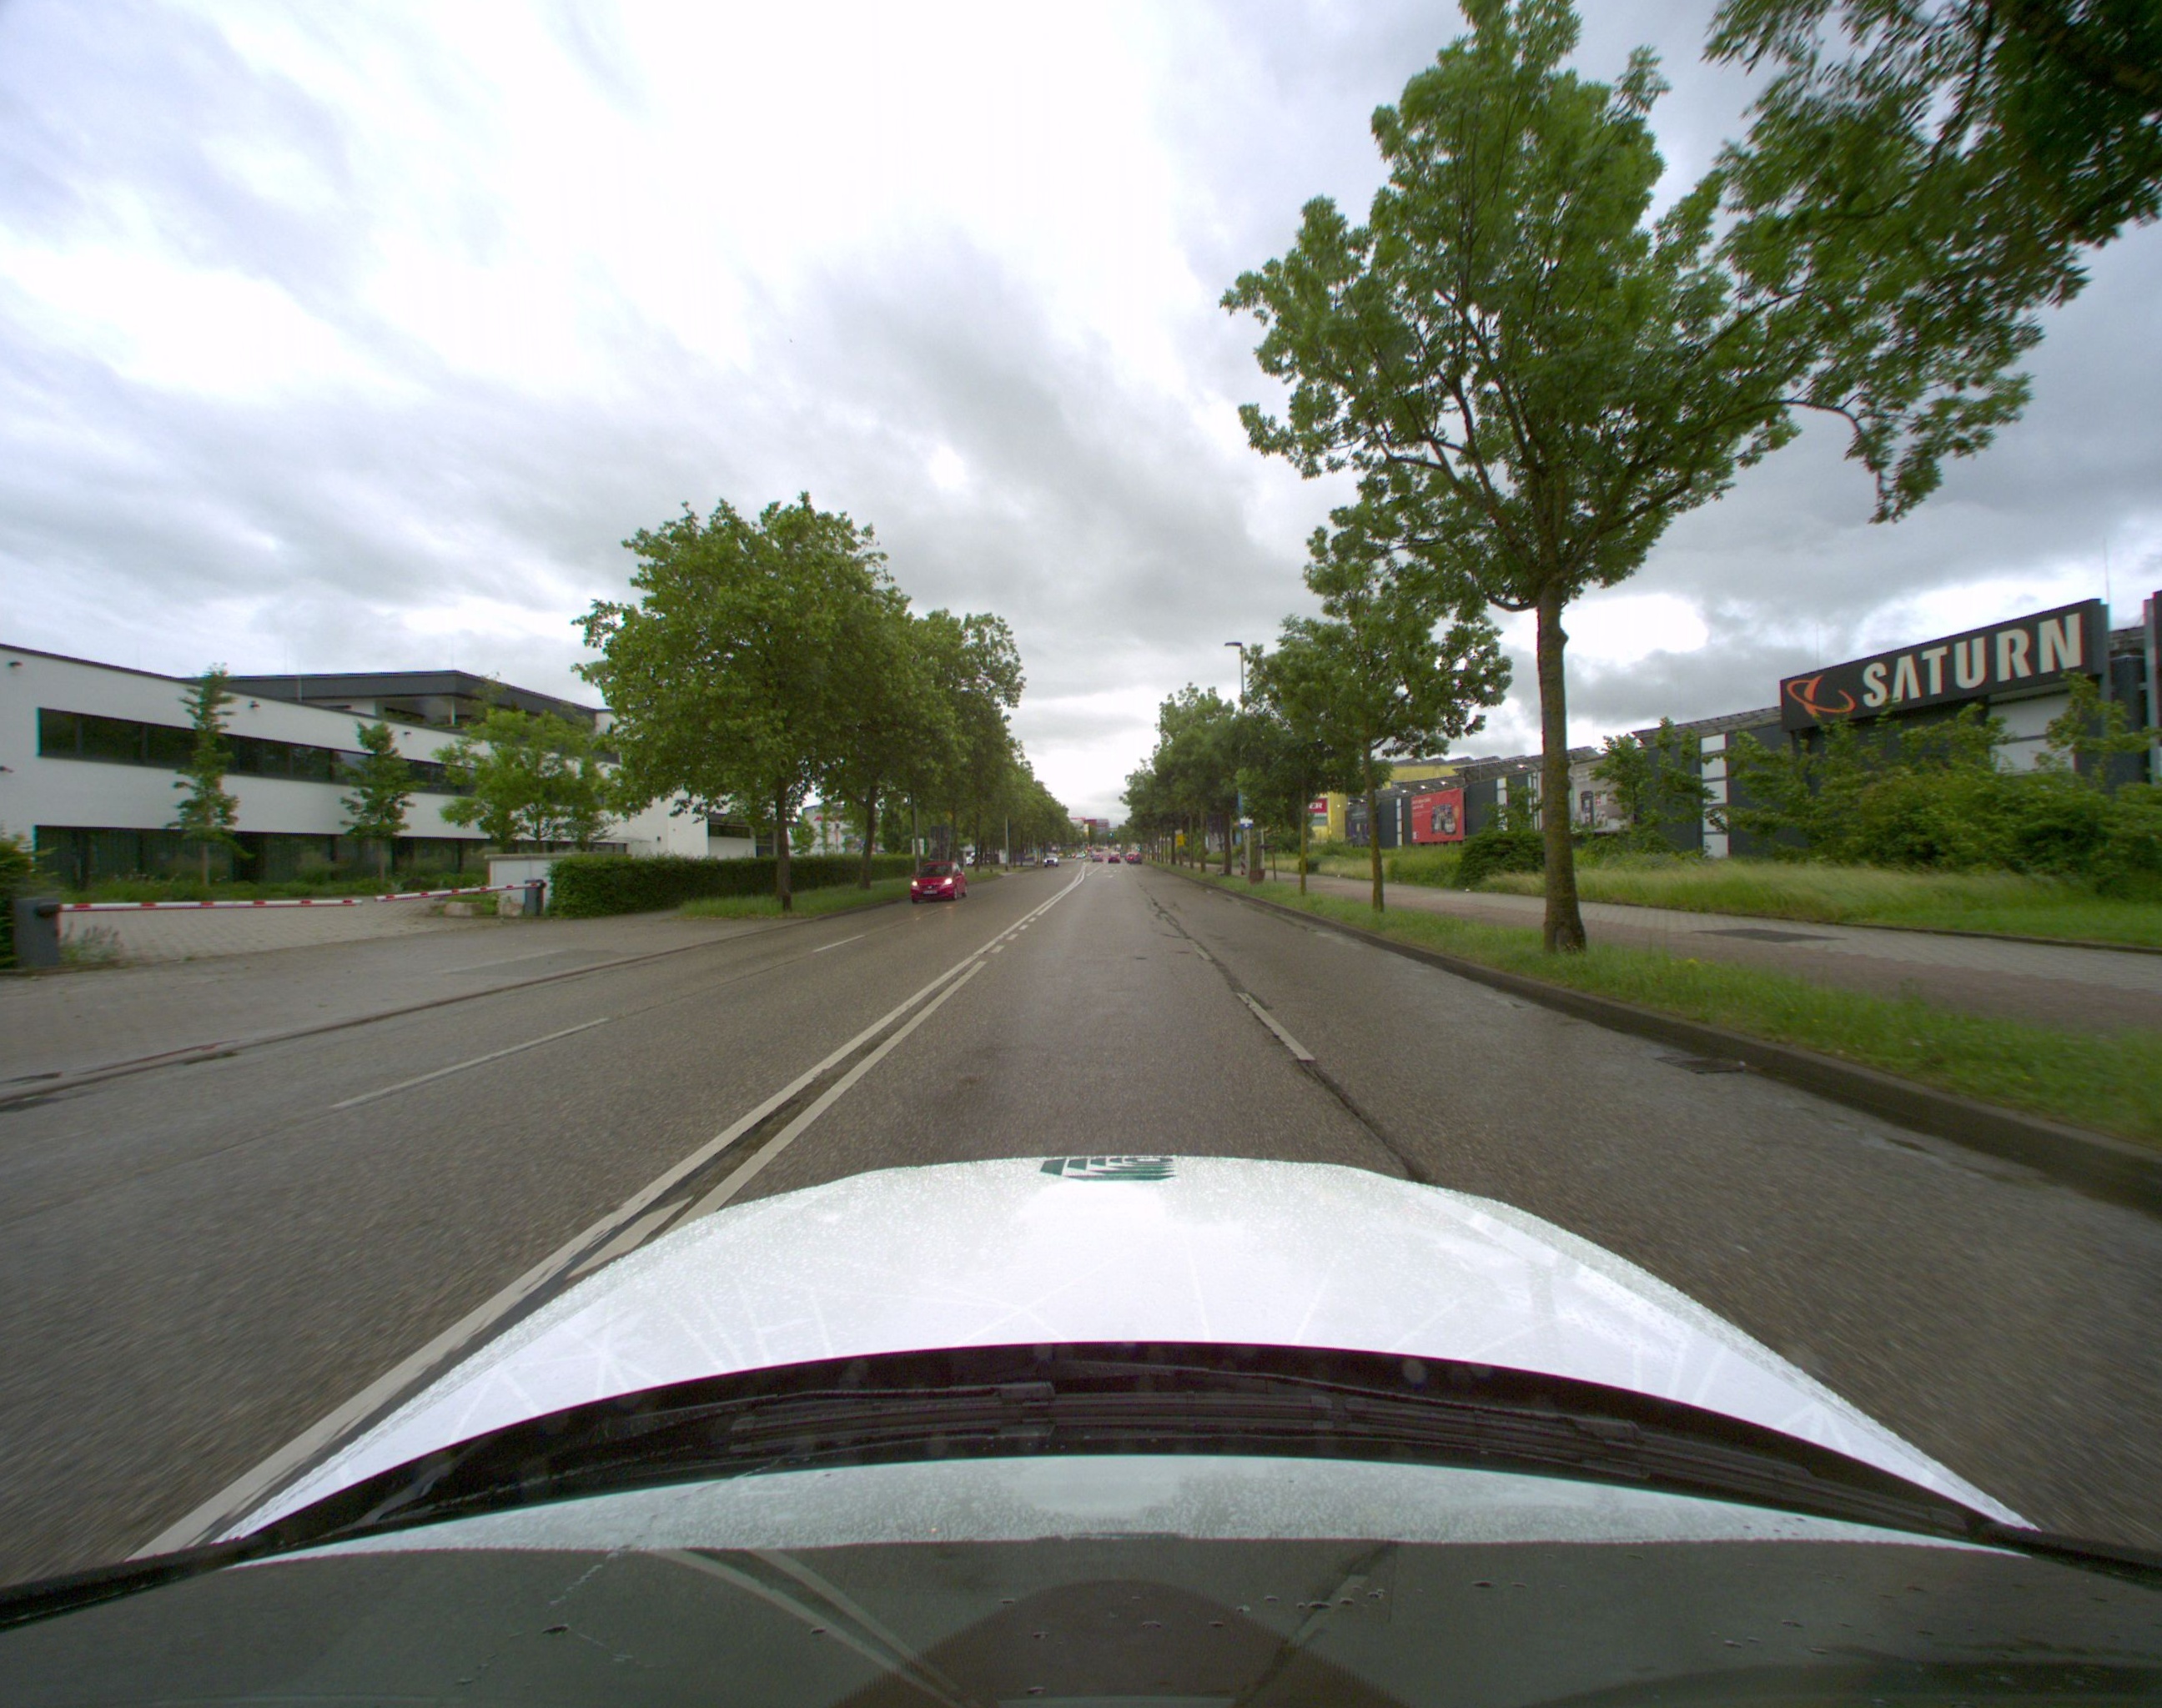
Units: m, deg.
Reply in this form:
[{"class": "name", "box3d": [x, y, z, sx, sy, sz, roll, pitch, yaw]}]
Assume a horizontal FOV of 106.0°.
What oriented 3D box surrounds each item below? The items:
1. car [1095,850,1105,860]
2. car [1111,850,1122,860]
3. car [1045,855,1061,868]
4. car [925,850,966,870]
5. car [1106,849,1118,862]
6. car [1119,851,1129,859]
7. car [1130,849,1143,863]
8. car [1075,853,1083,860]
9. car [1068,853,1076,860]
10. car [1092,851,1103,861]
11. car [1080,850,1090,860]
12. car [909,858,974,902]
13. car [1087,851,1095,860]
[{"class": "car", "box3d": [3.992, 0.210, 172.657, 1.883, 1.876, 4.126, -2, 0, 2]}, {"class": "car", "box3d": [6.491, 0.189, 148.627, 1.737, 1.737, 4.004, -2, 0, 3]}, {"class": "car", "box3d": [-3.908, 0.986, 113.920, 1.696, 1.737, 4.005, -2, 0, 4]}, {"class": "car", "box3d": [-14.624, 0.656, 88.148, 3.971, 1.924, 1.827, -3, -1, 2]}, {"class": "car", "box3d": [5.158, 0.294, 135.295, 1.737, 2.013, 4.004, -2, 0, 3]}, {"class": "car", "box3d": [9.233, 0.217, 174.021, 1.986, 1.794, 4.001, -2, 0, 1]}, {"class": "car", "box3d": [8.246, 0.316, 121.318, 1.737, 2.013, 4.004, -2, 0, 3]}, {"class": "car", "box3d": [-0.471, 0.698, 210.143, 1.821, 1.728, 3.999, -2, 0, 0]}, {"class": "car", "box3d": [-2.518, 0.808, 237.259, 2.209, 2.013, 3.999, -3, 0, 0]}, {"class": "car", "box3d": [3.209, 0.383, 158.026, 1.737, 1.701, 4.004, -2, 0, 3]}, {"class": "car", "box3d": [0.919, 0.136, 171.083, 1.986, 2.013, 4.001, -2, 0, 1]}, {"class": "car", "box3d": [-5.470, 0.985, 32.313, 1.719, 1.517, 3.823, -2, 0, 2]}, {"class": "car", "box3d": [2.524, 0.420, 199.865, 1.821, 2.013, 3.999, -2, 0, 0]}]
